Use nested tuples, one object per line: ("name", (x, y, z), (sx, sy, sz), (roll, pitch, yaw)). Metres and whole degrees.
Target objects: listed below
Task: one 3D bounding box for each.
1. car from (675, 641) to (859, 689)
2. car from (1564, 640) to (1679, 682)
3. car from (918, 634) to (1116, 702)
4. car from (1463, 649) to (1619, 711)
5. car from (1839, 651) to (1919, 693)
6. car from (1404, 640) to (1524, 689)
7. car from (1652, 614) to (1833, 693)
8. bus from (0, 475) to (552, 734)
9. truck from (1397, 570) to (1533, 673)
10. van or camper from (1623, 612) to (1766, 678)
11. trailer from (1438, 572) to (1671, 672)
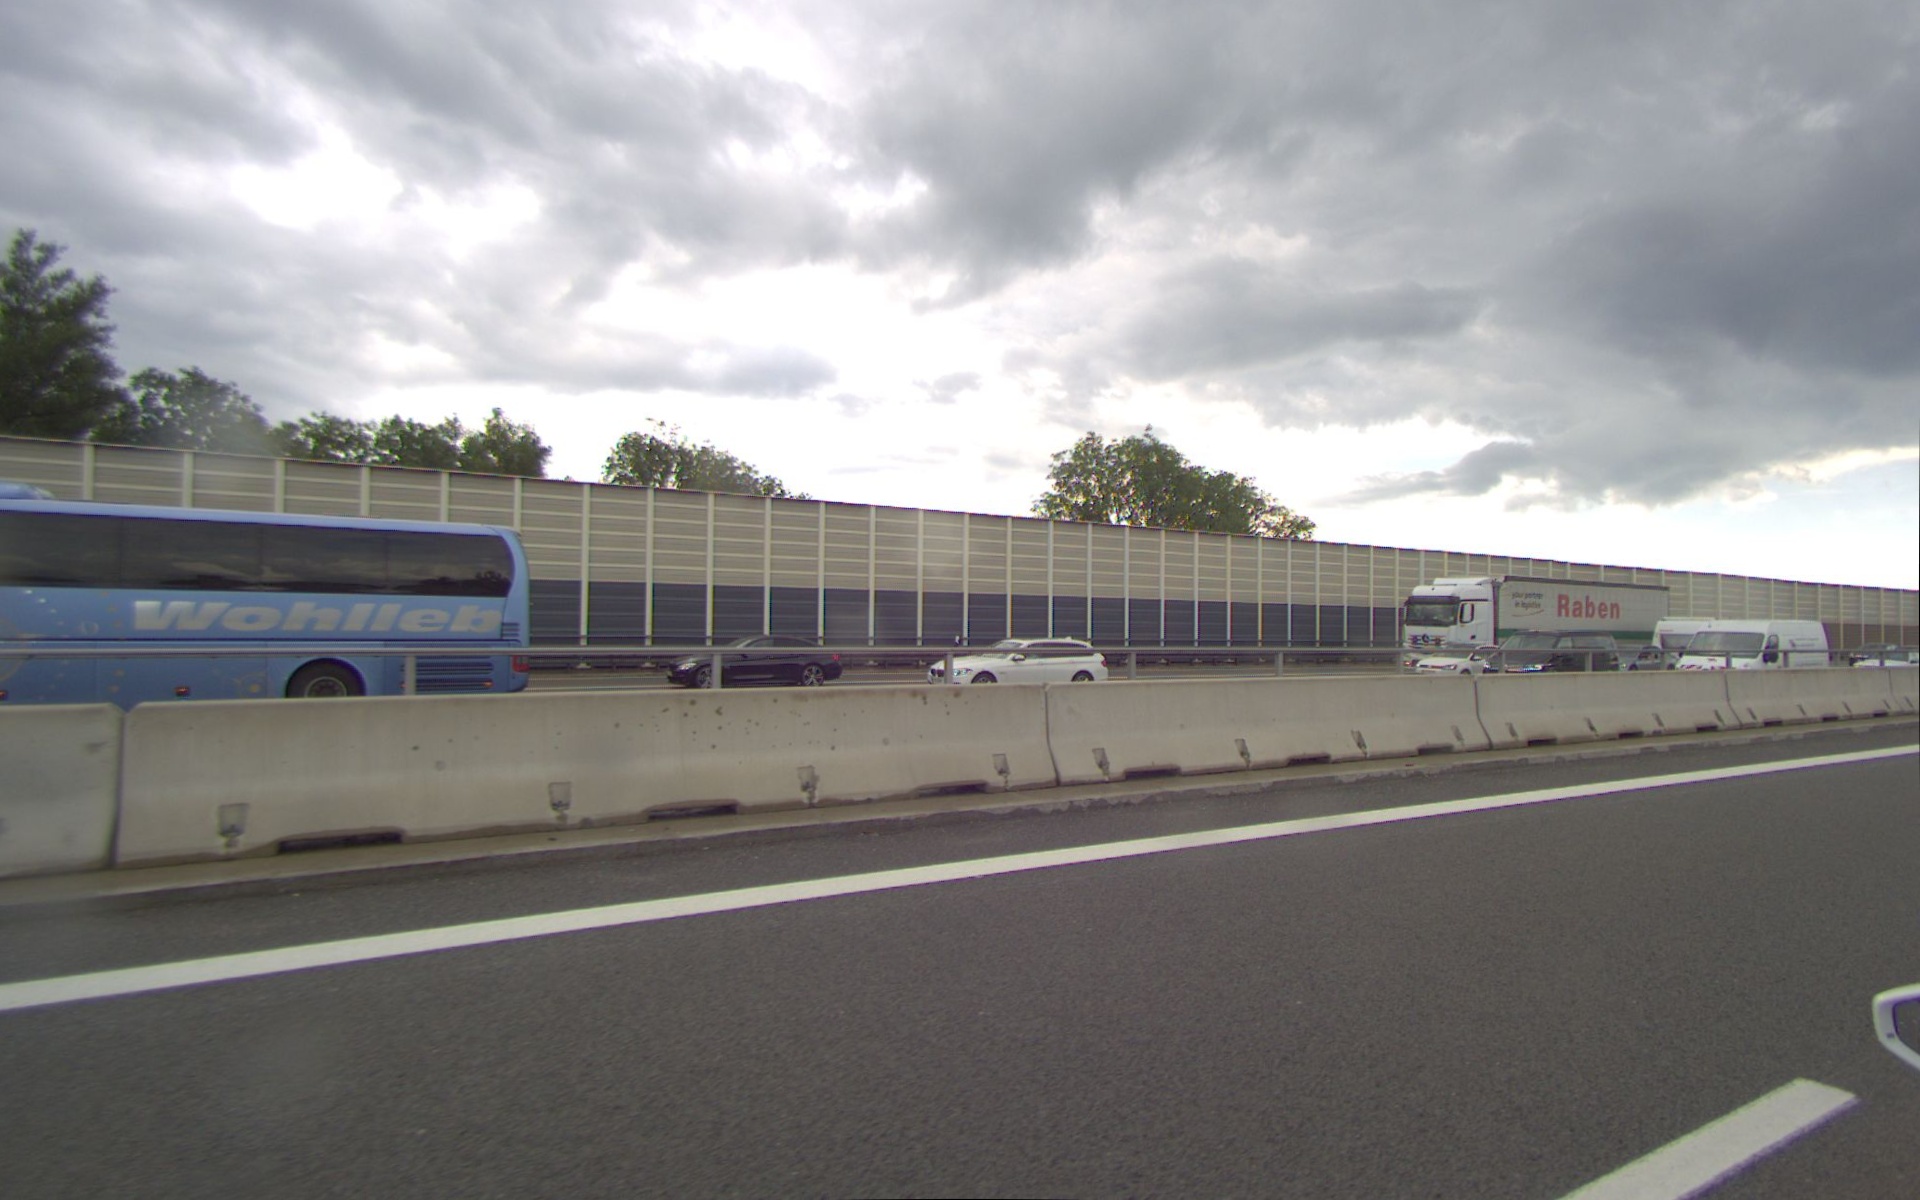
("car", (-5.087, 1.678, 26.635), (4.440, 1.129, 1.874), (1, -1, -30))
("car", (26.291, 2.373, 39.875), (5.079, 1.546, 1.739), (1, -1, -30))
("car", (1.467, 1.641, 25.320), (4.764, 1.546, 1.874), (1, -1, -30))
("car", (17.744, 2.367, 30.644), (4.745, 1.681, 2.069), (1, -1, -30))
("car", (40.504, 3.093, 43.711), (5.036, 1.620, 1.915), (1, -1, -30))
("car", (17.362, 2.162, 34.570), (4.128, 1.546, 1.739), (1, -1, -30))
("car", (22.900, 1.493, 29.331), (5.943, 2.098, 2.149), (1, -1, -30))
("bus", (-13.396, 0.112, 16.983), (11.741, 3.808, 3.078), (1, -1, -30))
("truck", (20.743, 0.875, 41.222), (5.116, 3.987, 2.564), (1, 0, -30))
("van or camper", (31.497, 1.876, 43.026), (7.065, 2.676, 2.333), (1, -1, -30))
("trailer", (26.736, 0.986, 44.716), (13.653, 3.987, 2.551), (1, 0, -30))
